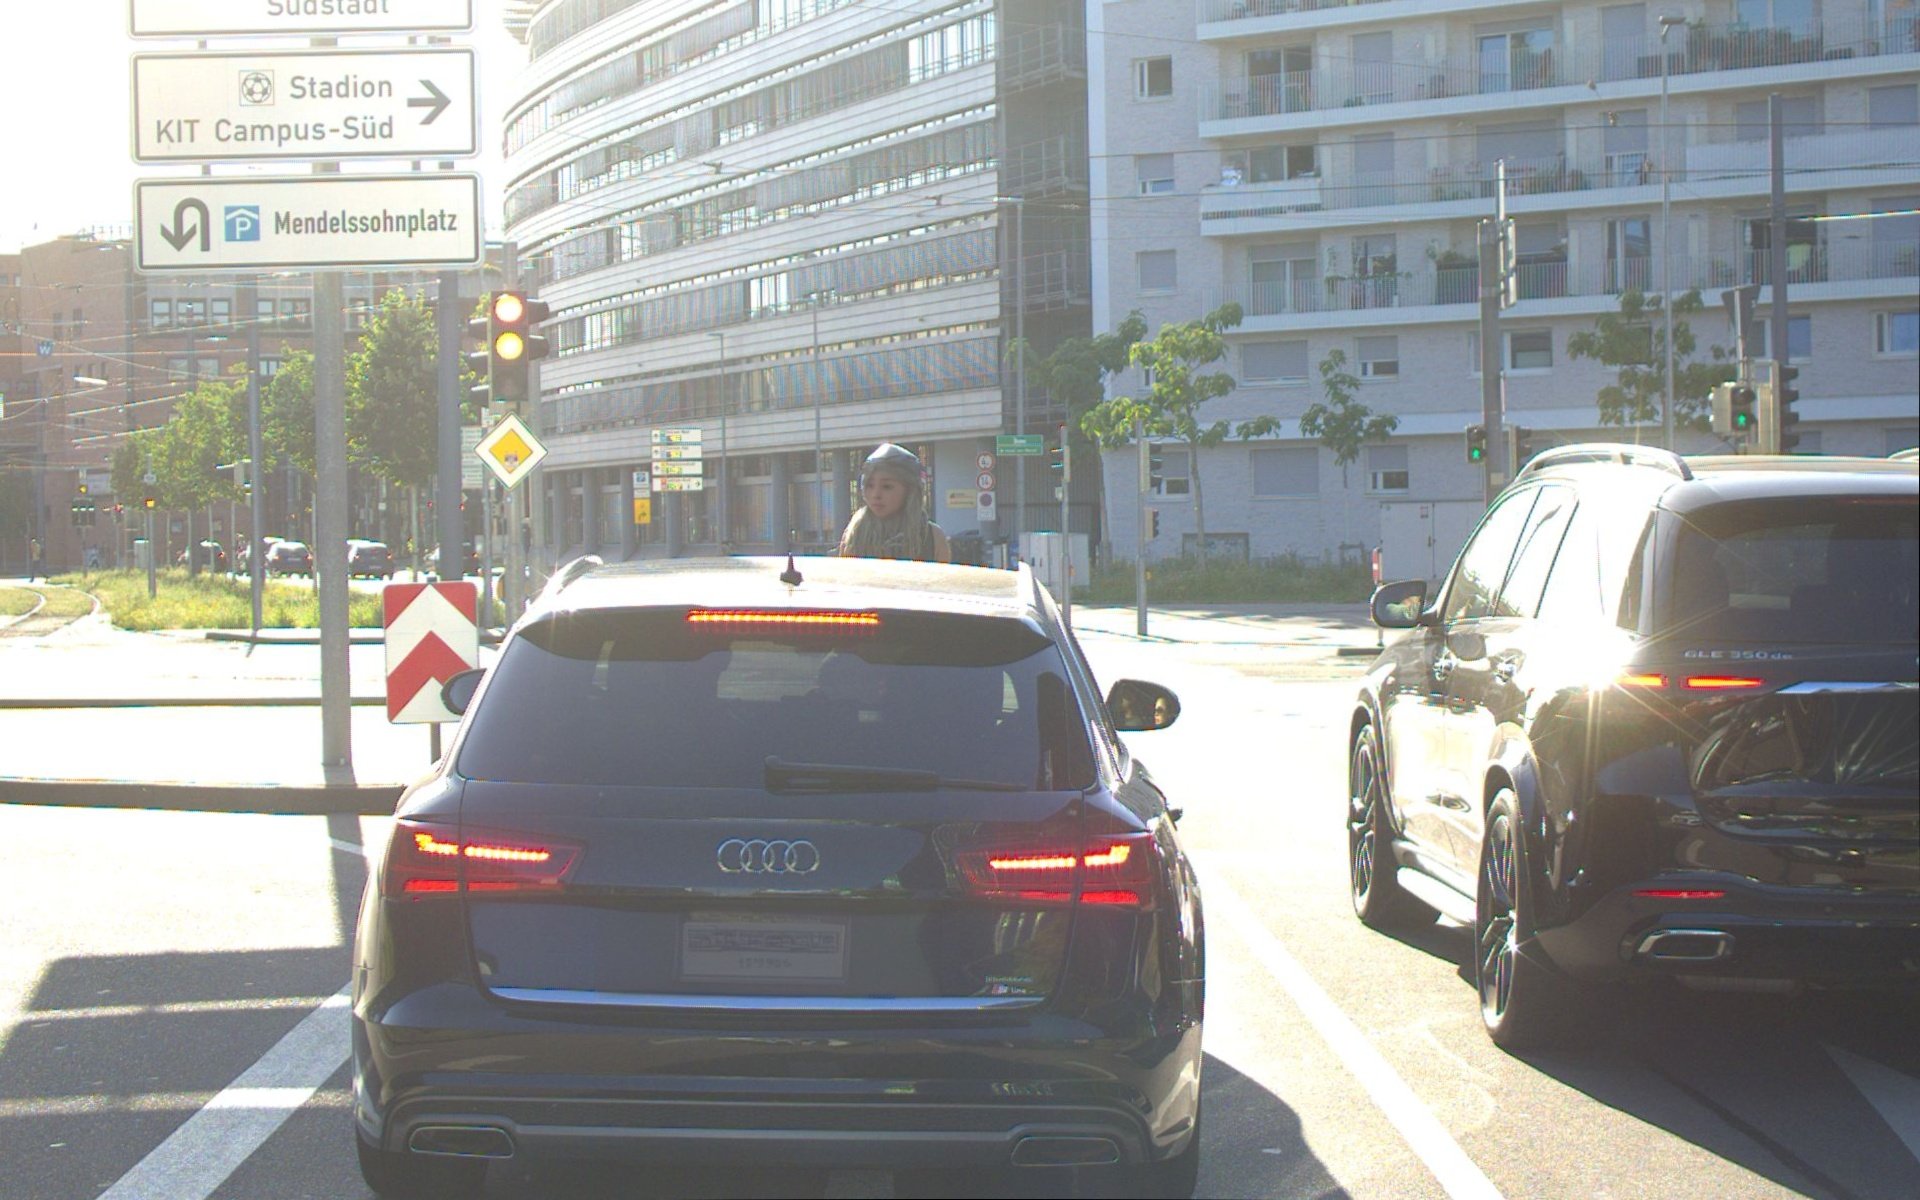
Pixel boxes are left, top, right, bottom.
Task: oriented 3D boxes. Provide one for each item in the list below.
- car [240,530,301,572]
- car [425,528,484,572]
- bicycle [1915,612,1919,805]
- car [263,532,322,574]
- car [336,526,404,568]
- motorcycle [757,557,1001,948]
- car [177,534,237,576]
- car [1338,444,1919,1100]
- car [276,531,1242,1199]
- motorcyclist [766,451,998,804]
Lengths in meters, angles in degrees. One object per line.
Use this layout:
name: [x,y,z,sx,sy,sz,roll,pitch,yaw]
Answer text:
car: [-29.277,-2.064,145.993,1.993,1.700,4.001,-2,1,-19]
car: [-22.071,-2.188,150.077,1.993,1.831,4.001,-2,1,-16]
bicycle: [5.482,0.612,17.711,0.654,1.039,1.929,-1,2,2]
car: [-27.190,-1.896,140.025,1.993,1.590,4.001,-2,1,-16]
car: [-23.638,-2.108,137.686,1.993,1.590,4.001,-2,1,-19]
motorcycle: [-0.301,0.538,13.336,0.862,1.388,1.894,-1,1,-1]
car: [-31.846,-1.900,145.337,1.993,1.700,4.001,-2,1,-19]
car: [2.518,0.402,11.208,2.003,1.709,4.373,1,2,-1]
car: [-0.425,0.579,8.623,1.842,1.449,4.001,1,2,-1]
motorcyclist: [-0.297,0.098,13.335,0.862,1.322,0.681,-1,1,-1]
